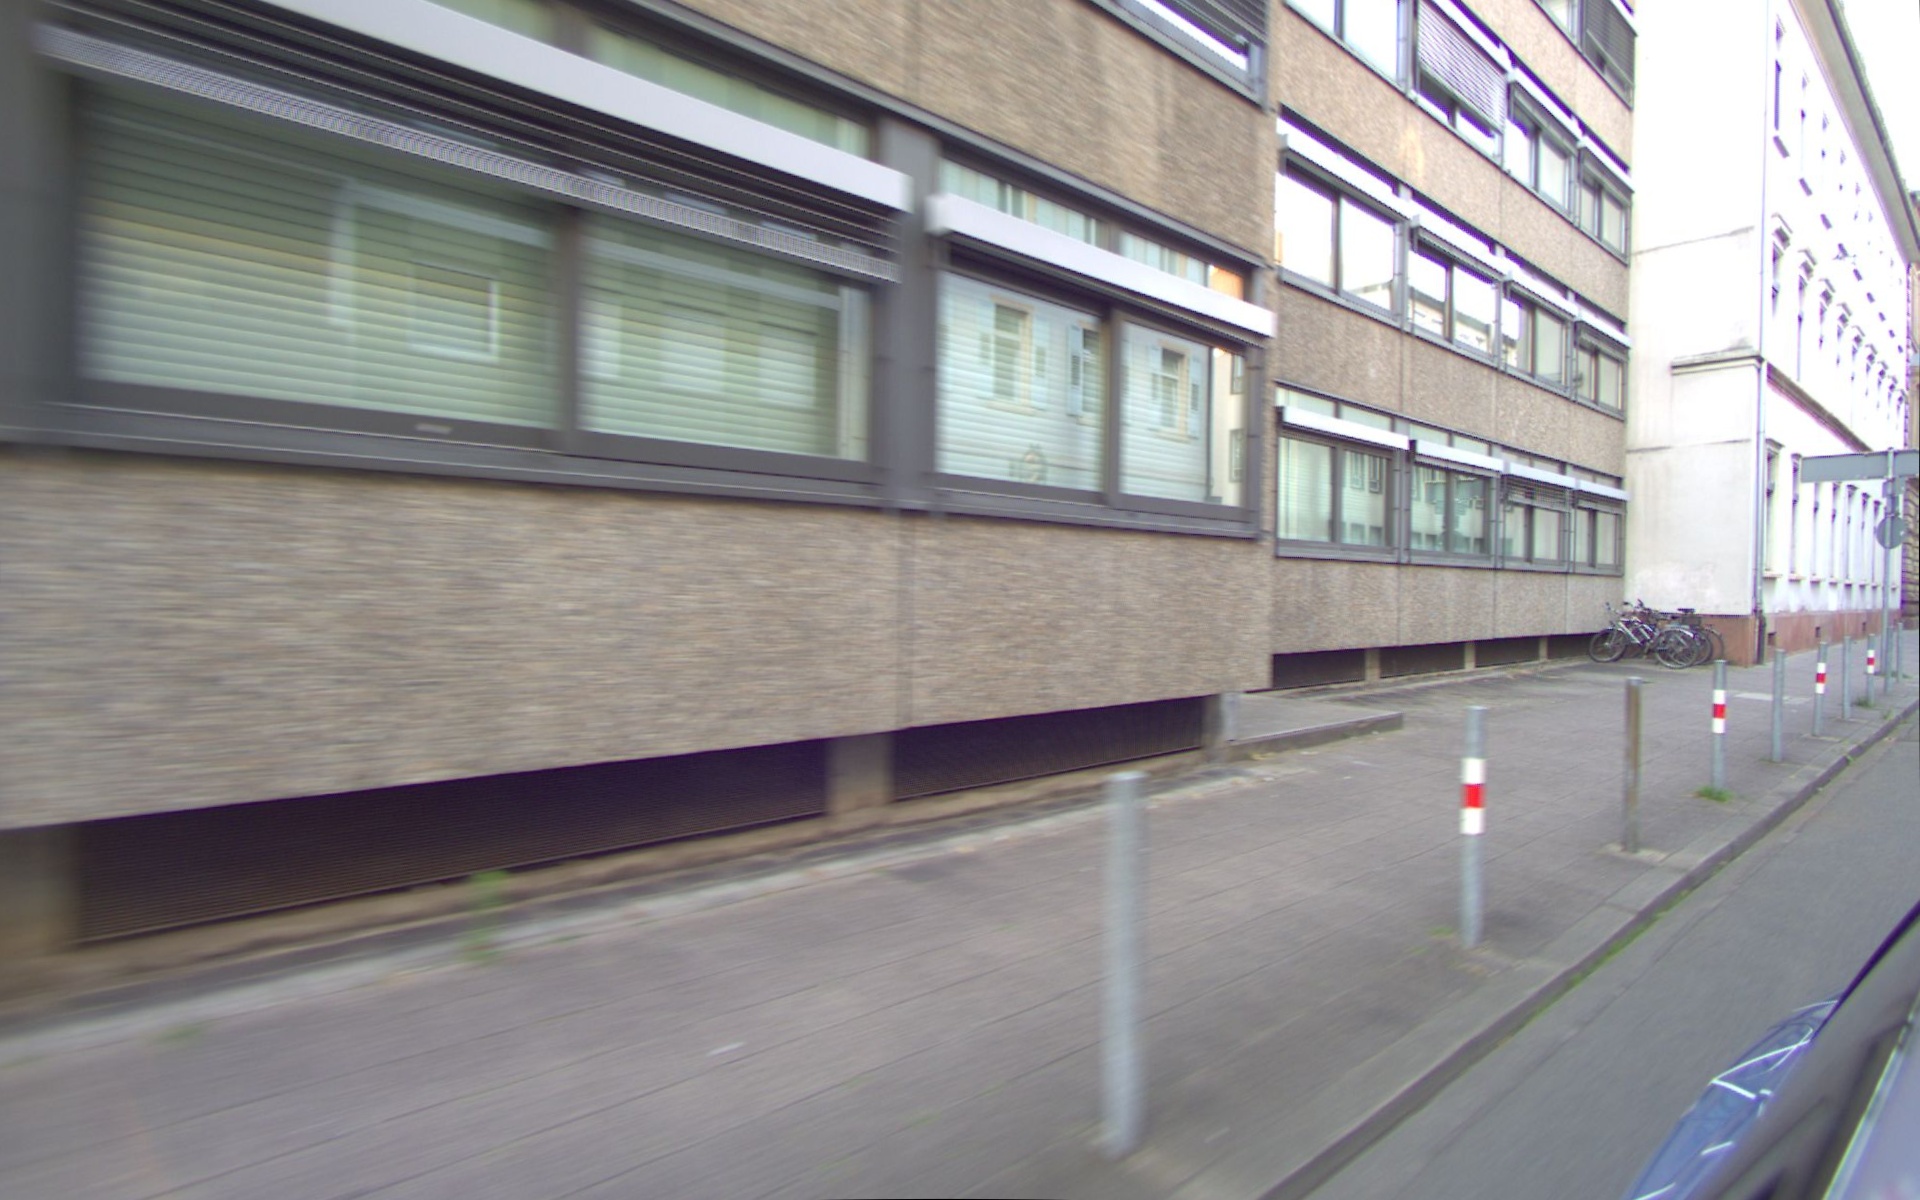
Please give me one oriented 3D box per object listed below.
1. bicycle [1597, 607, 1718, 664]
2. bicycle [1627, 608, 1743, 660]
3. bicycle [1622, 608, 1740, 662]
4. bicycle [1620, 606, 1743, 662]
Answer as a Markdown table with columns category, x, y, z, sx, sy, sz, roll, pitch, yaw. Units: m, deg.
| category | x | y | z | sx | sy | sz | roll | pitch | yaw |
| --- | --- | --- | --- | --- | --- | --- | --- | --- | --- |
| bicycle | 12.478 | 0.611 | 18.139 | 1.738 | 0.934 | 0.530 | 1 | 1 | 42 |
| bicycle | 14.007 | 0.638 | 19.588 | 0.390 | 0.934 | 1.796 | 0 | 1 | -45 |
| bicycle | 13.631 | 0.644 | 19.167 | 1.793 | 0.934 | 0.509 | 1 | 1 | 41 |
| bicycle | 13.190 | 0.606 | 18.541 | 1.793 | 0.934 | 0.530 | 1 | 1 | 41 |
